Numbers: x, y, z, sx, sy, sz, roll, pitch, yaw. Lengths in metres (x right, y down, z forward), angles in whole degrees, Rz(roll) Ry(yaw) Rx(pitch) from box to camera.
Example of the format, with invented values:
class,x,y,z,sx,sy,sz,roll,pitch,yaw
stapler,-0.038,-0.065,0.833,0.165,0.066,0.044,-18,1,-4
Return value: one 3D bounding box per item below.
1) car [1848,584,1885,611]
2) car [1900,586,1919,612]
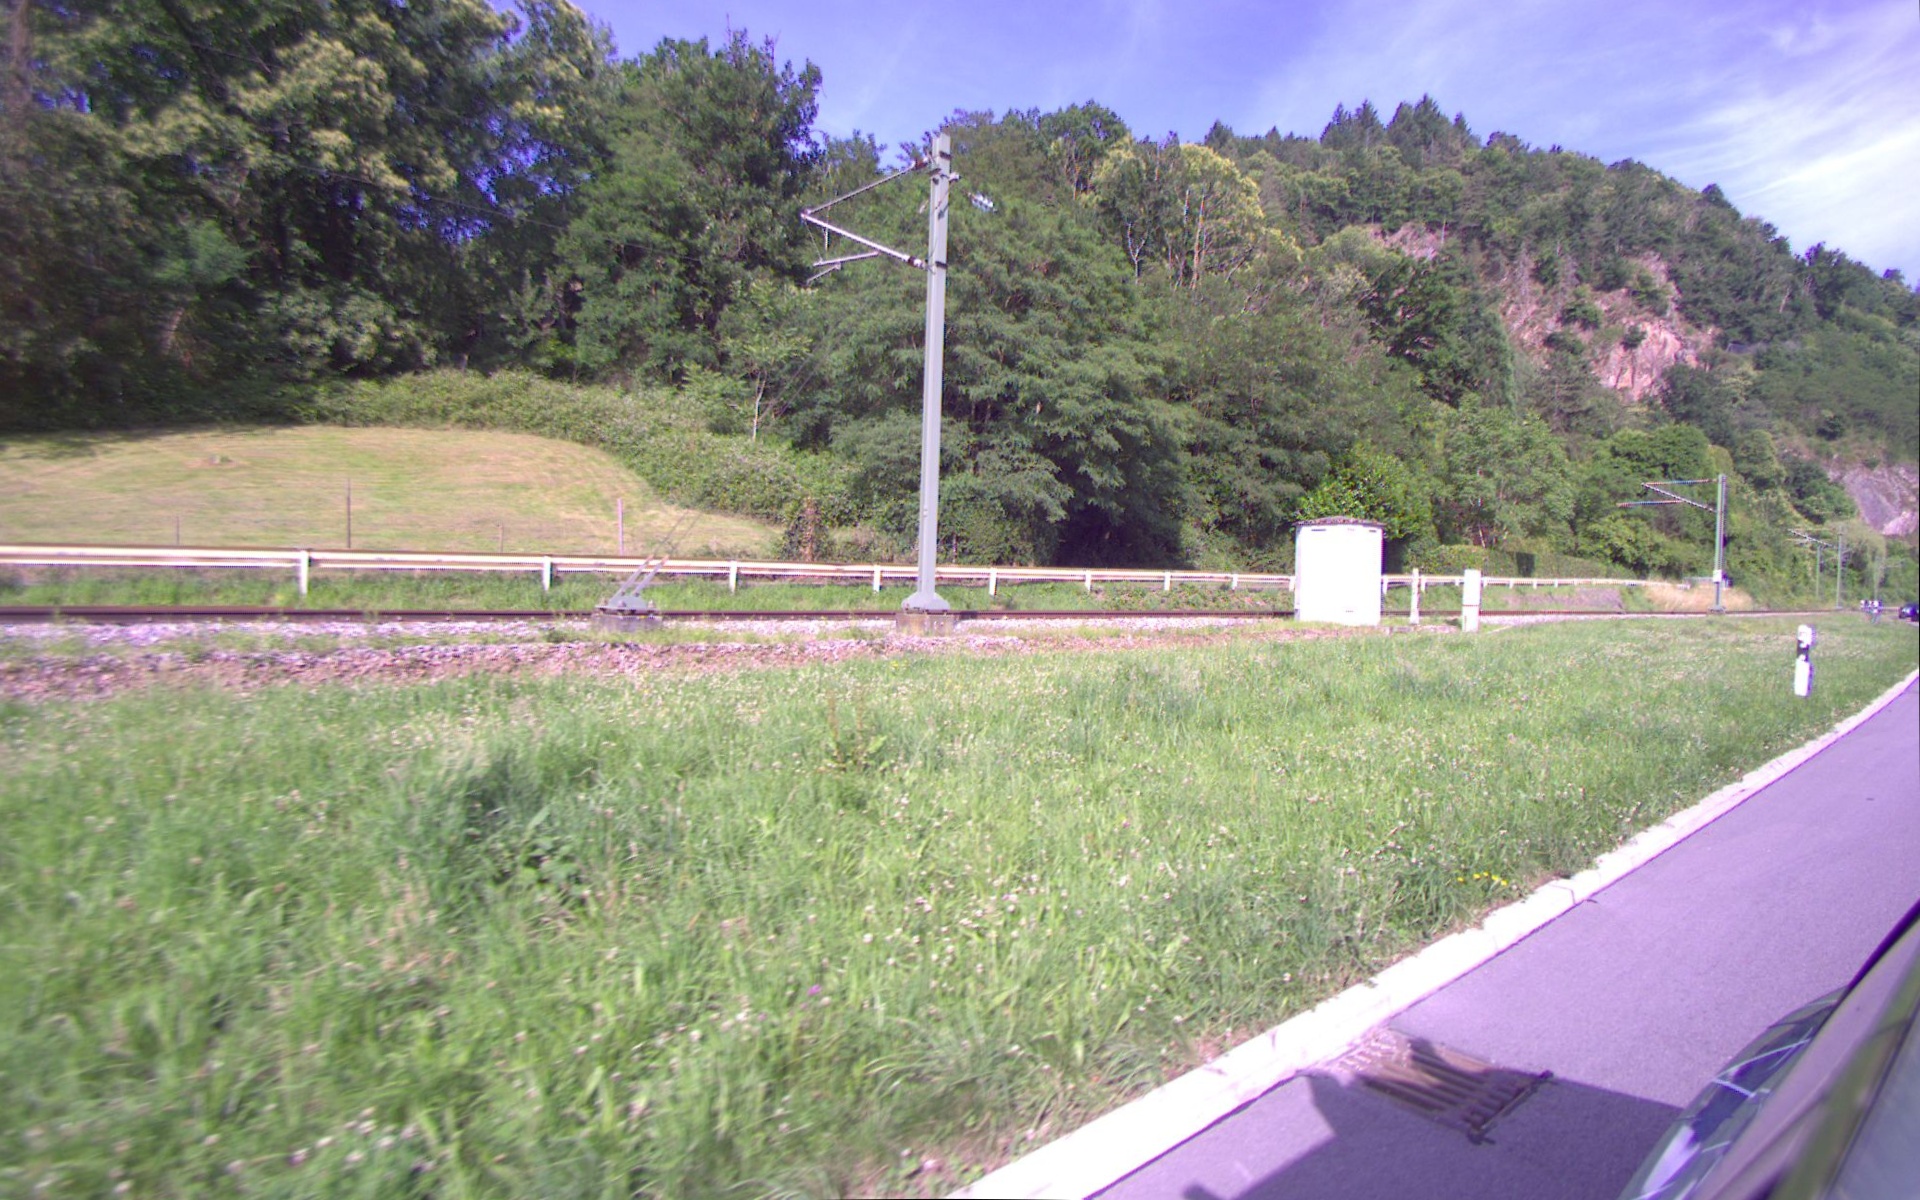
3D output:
class,x,y,z,sx,sy,sz,roll,pitch,yaw
car,74.218,-0.192,82.827,1.995,2.038,3.936,5,3,44
car,79.893,-0.064,84.401,1.995,2.038,3.936,5,3,44
